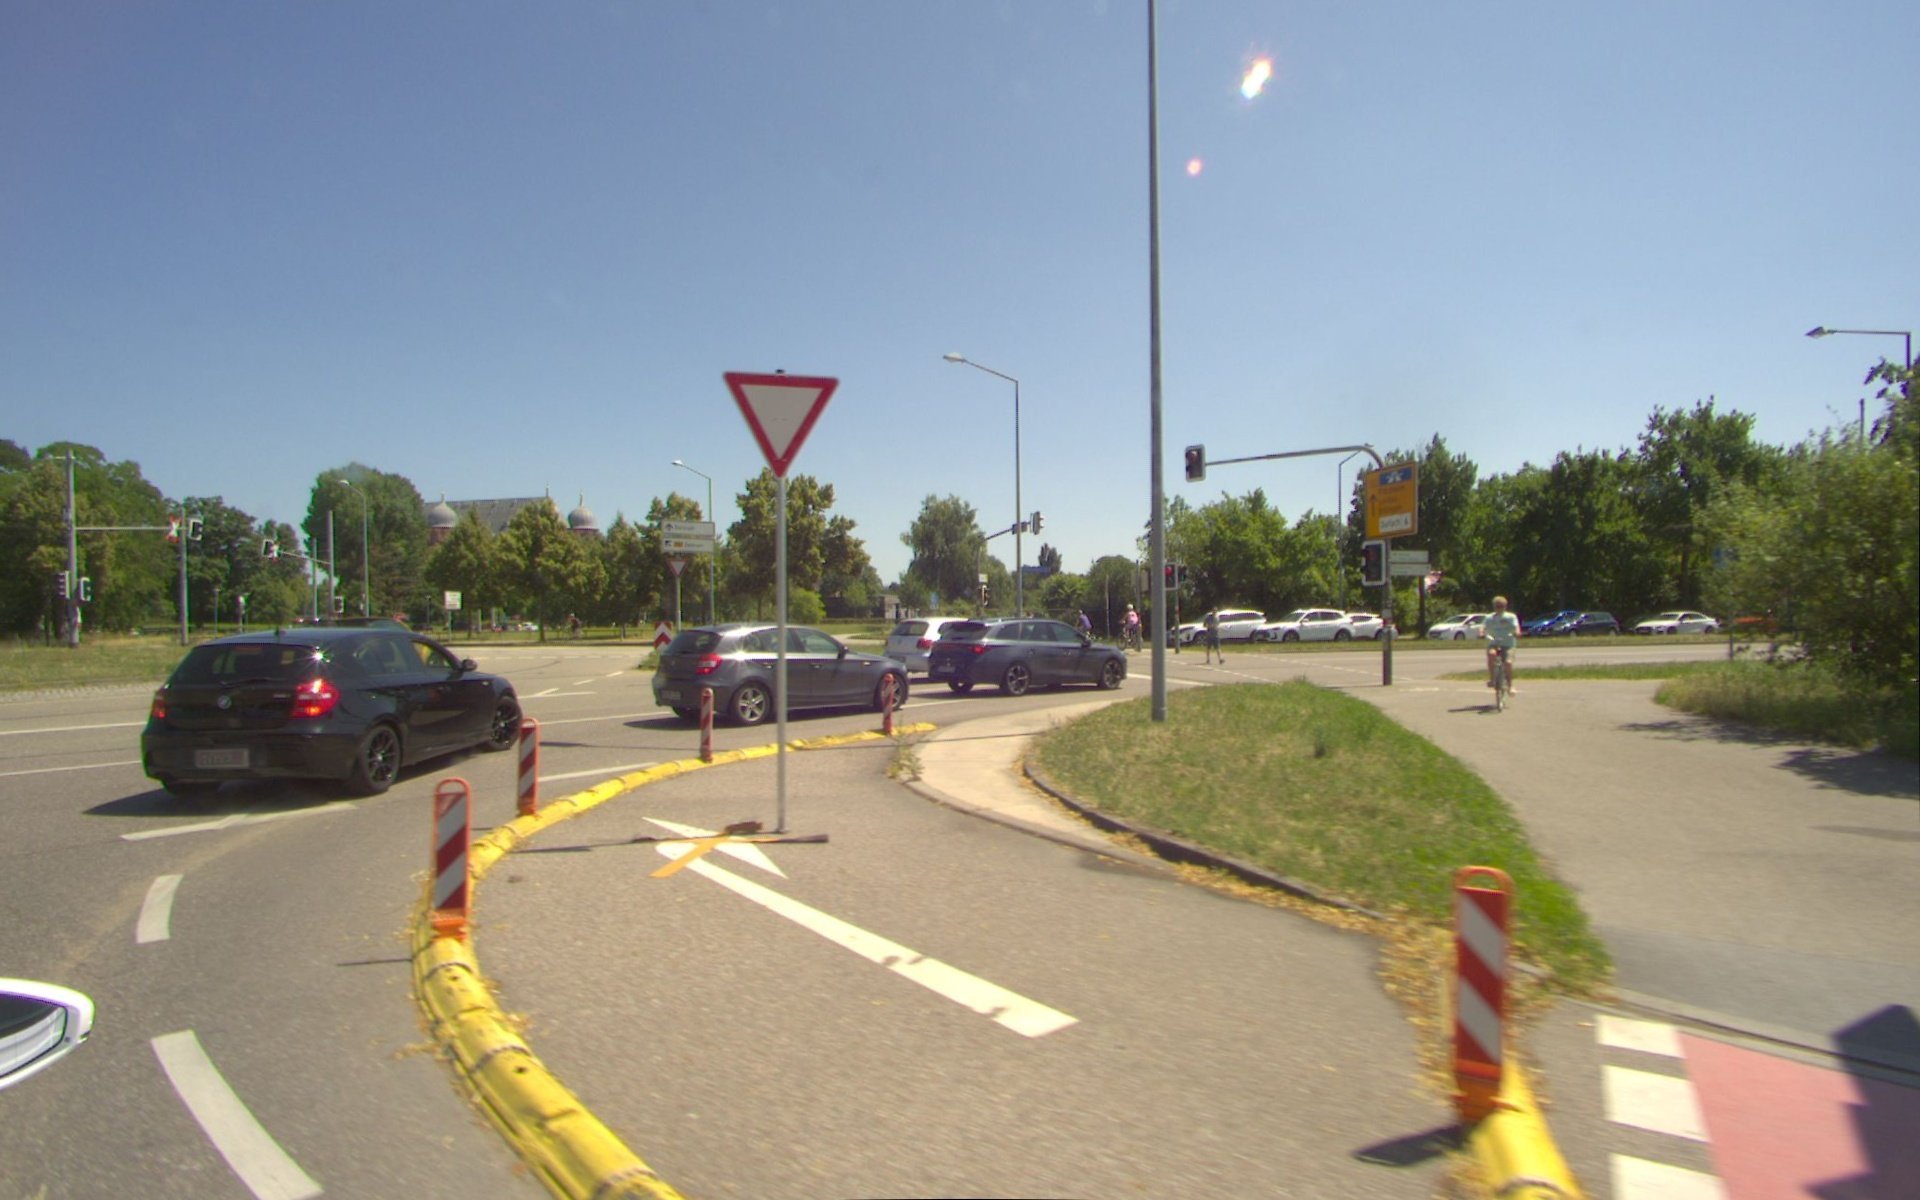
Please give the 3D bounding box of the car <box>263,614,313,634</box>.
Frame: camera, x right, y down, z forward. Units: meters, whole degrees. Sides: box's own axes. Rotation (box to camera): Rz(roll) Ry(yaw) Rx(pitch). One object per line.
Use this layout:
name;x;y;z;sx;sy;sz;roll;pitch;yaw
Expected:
car;-71.431;2.583;106.477;3.931;2.039;1.997;1;-2;-19

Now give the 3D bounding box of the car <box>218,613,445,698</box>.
car;-11.635;1.002;18.852;1.796;1.421;3.663;0;-2;4

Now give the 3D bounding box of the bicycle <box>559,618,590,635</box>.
bicycle;-26.311;1.827;68.305;2.023;1.129;0.728;-1;-2;22

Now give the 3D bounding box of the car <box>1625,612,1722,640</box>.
car;37.687;1.374;52.905;4.329;1.441;1.862;0;-1;-15

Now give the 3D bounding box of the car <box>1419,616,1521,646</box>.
car;25.044;1.492;49.211;4.329;1.441;1.862;0;-1;-15

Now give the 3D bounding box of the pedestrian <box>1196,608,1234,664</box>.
pedestrian;7.639;1.093;30.050;0.743;1.658;0.955;0;-2;-15

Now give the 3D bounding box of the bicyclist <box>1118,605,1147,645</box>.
bicyclist;7.130;1.058;41.438;0.941;1.630;1.186;0;-1;-2

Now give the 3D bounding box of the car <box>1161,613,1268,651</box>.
car;11.401;1.427;44.937;4.329;1.639;1.862;0;-1;-15

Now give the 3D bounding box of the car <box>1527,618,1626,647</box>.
car;31.370;1.632;50.970;4.329;1.441;1.862;0;-1;-15

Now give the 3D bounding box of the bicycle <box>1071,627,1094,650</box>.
bicycle;5.358;1.691;43.727;0.881;0.912;1.762;1;0;4

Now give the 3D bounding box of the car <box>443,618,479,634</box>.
car;-63.778;3.310;128.033;3.931;2.039;1.997;1;-2;-19

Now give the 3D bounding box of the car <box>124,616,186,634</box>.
car;-72.822;2.285;90.615;3.934;1.594;1.995;1;-2;-22

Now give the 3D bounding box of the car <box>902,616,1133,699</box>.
car;1.213;1.049;19.710;4.405;1.437;1.984;0;-1;-40

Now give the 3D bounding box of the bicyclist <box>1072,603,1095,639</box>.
bicyclist;5.390;0.913;43.797;0.941;1.552;1.185;0;1;3

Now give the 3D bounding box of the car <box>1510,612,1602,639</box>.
car;32.462;1.390;54.587;4.329;1.441;1.862;0;-1;-15

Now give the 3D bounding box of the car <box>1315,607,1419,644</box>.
car;19.314;1.199;47.563;4.329;1.705;1.862;0;-1;-15

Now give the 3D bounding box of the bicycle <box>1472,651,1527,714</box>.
bicycle;8.599;1.284;15.928;0.620;0.890;1.866;-1;-2;33

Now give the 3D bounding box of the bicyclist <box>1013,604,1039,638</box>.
bicyclist;3.171;1.027;48.168;0.968;1.634;0.749;-2;-2;44

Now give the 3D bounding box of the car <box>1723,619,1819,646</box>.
car;43.726;1.728;54.029;4.329;1.441;1.862;0;-1;-15

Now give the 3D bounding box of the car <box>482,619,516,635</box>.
car;-62.648;3.678;136.132;3.931;2.039;1.997;1;-2;-19

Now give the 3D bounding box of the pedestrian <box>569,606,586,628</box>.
pedestrian;-26.086;1.156;68.225;0.804;1.469;0.708;-1;-2;22

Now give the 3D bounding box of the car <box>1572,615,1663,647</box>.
car;36.588;1.715;55.767;4.329;1.705;1.862;0;-1;-15

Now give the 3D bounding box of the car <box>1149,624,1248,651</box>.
car;11.526;1.793;48.464;4.329;1.287;1.862;0;-1;-15

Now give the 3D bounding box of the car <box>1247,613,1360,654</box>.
car;14.795;1.416;43.190;4.329;1.705;1.862;0;-1;-15

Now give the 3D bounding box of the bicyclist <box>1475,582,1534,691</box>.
bicyclist;8.688;0.565;15.967;0.738;1.662;1.156;0;0;33

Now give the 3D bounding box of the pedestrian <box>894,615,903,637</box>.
pedestrian;-4.787;2.027;77.963;0.564;1.753;0.674;0;-2;16

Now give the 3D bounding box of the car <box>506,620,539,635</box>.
car;-61.717;3.913;141.312;3.925;2.039;1.999;1;-2;-11

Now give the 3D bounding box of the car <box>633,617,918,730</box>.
car;-2.659;0.995;15.121;1.733;1.421;4.046;0;0;42

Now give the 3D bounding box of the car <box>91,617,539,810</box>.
car;-5.810;0.906;9.713;1.768;1.459;4.000;1;-1;0

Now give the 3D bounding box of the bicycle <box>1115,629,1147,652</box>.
bicycle;7.084;1.691;41.515;0.881;0.912;2.227;1;-2;-2

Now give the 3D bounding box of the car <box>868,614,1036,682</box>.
car;-0.118;1.068;23.582;1.762;1.441;3.966;-1;-1;42
